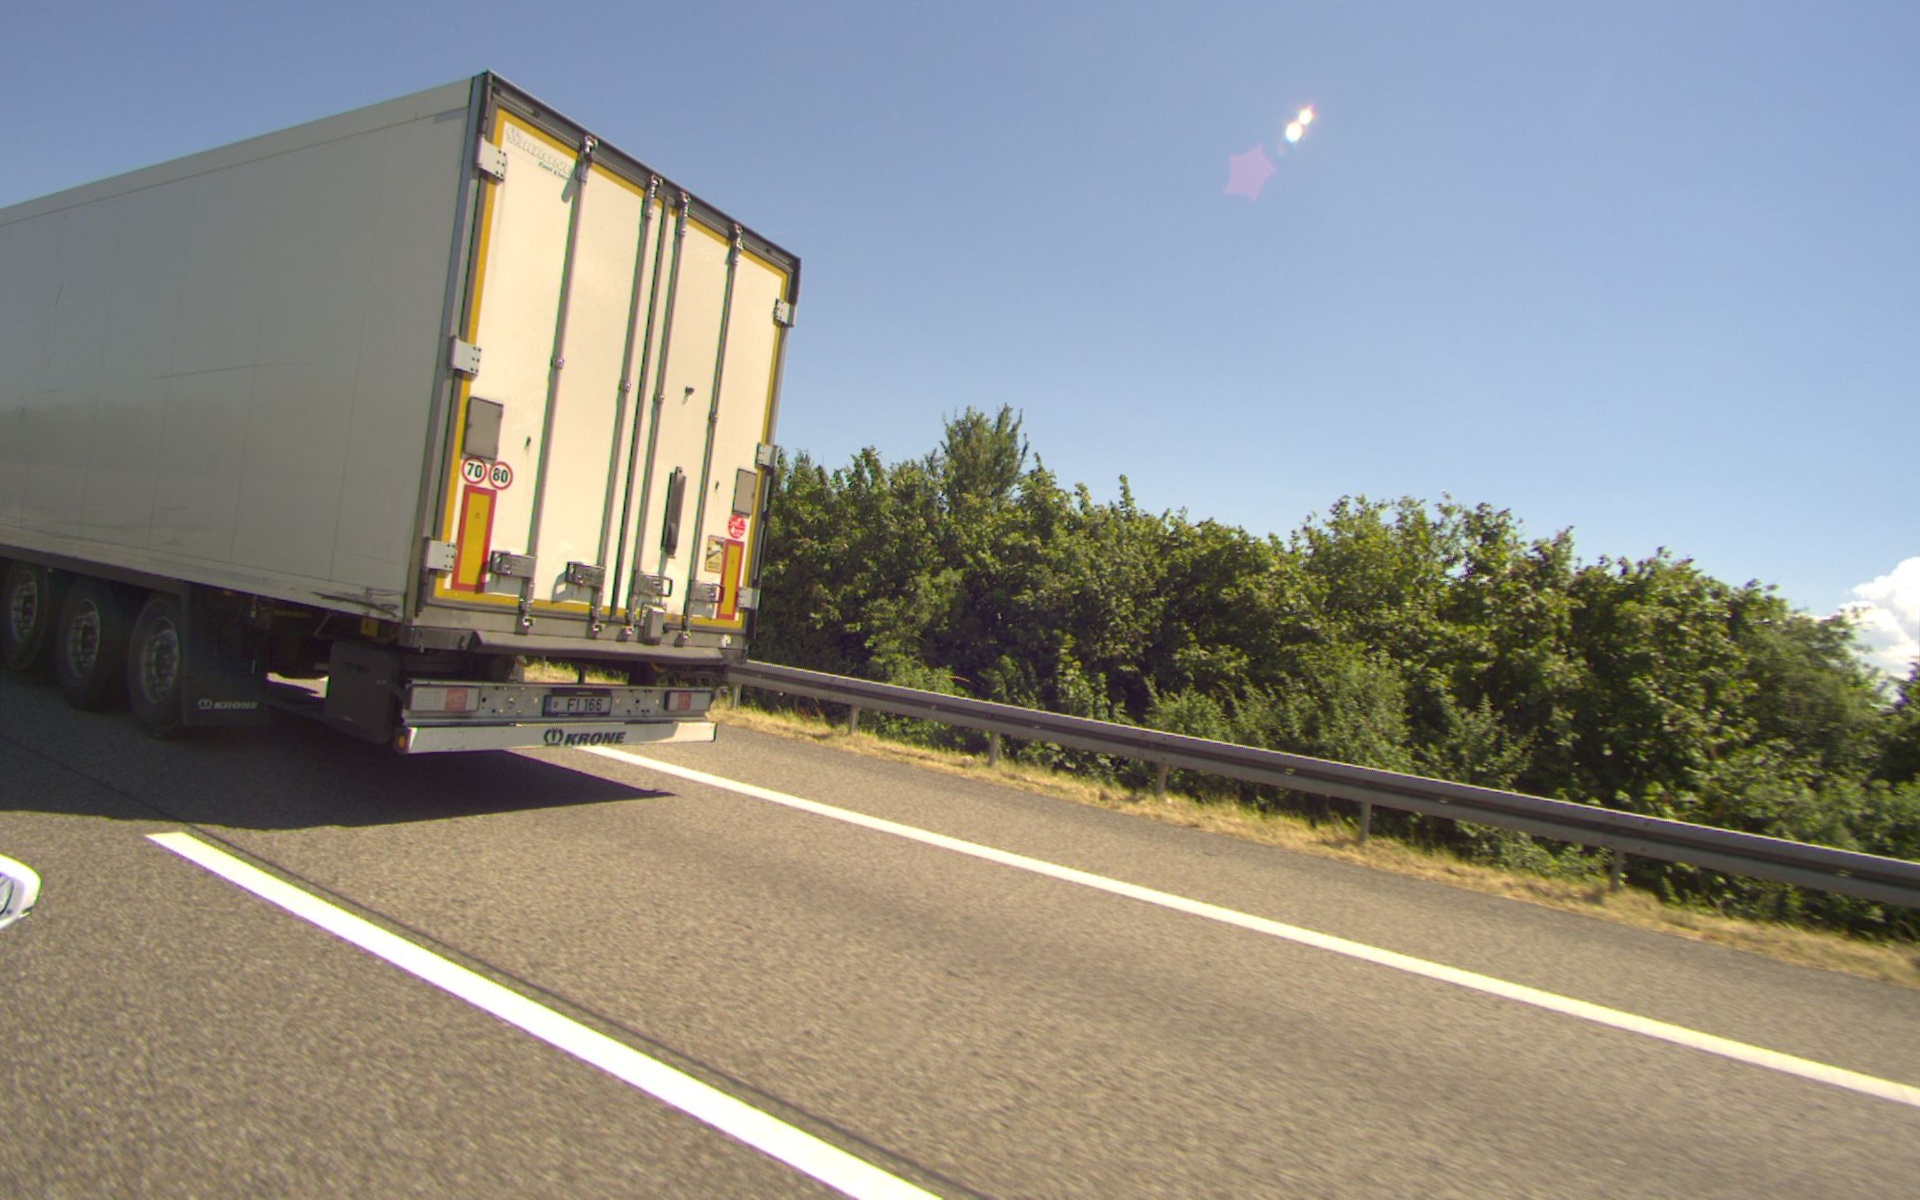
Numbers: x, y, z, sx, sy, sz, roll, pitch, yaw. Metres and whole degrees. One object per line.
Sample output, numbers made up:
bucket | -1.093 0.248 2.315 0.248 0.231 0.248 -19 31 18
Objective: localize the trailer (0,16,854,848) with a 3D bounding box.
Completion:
trailer | -7.037 -1.289 9.429 12.322 4.154 2.965 6 -1 31

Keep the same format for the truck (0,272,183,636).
truck | -13.882 -2.021 13.596 6.103 4.154 2.965 7 -1 31
